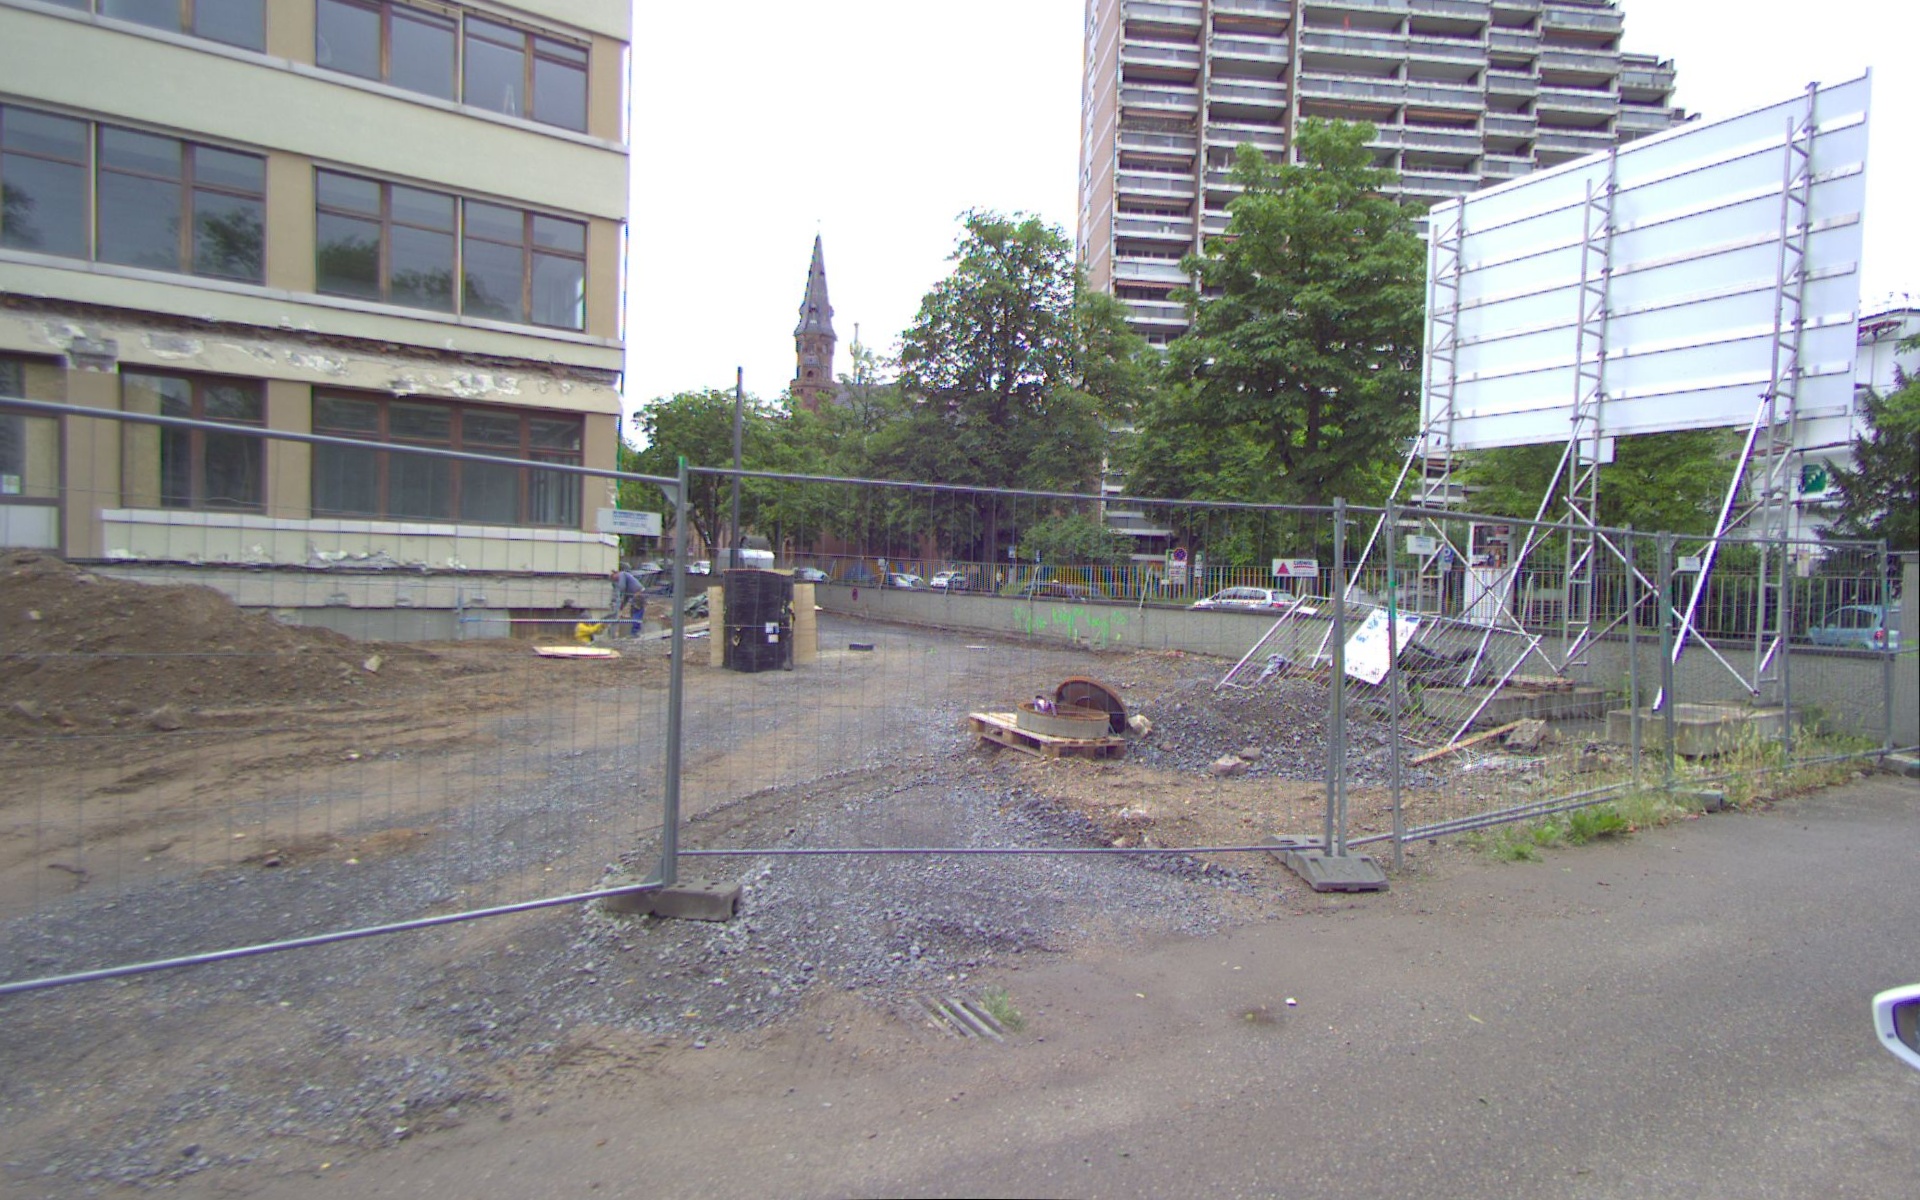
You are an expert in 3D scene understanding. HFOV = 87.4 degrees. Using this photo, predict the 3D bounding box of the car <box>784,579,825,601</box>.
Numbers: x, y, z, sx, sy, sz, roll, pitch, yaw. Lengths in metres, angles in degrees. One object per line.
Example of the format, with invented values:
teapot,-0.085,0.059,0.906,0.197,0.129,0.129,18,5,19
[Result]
car,-11.244,-0.733,72.548,1.584,1.539,3.966,1,1,-31

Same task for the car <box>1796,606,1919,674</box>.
car,23.127,0.969,25.498,1.586,1.557,3.338,2,1,14

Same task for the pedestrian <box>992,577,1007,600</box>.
pedestrian,2.665,-0.767,67.261,0.838,1.548,0.516,1,2,-43

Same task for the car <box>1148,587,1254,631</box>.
car,9.247,0.328,38.806,1.711,1.539,3.967,1,1,-30

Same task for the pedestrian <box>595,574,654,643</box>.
pedestrian,-7.359,0.188,22.021,0.973,1.457,0.921,1,1,-35
